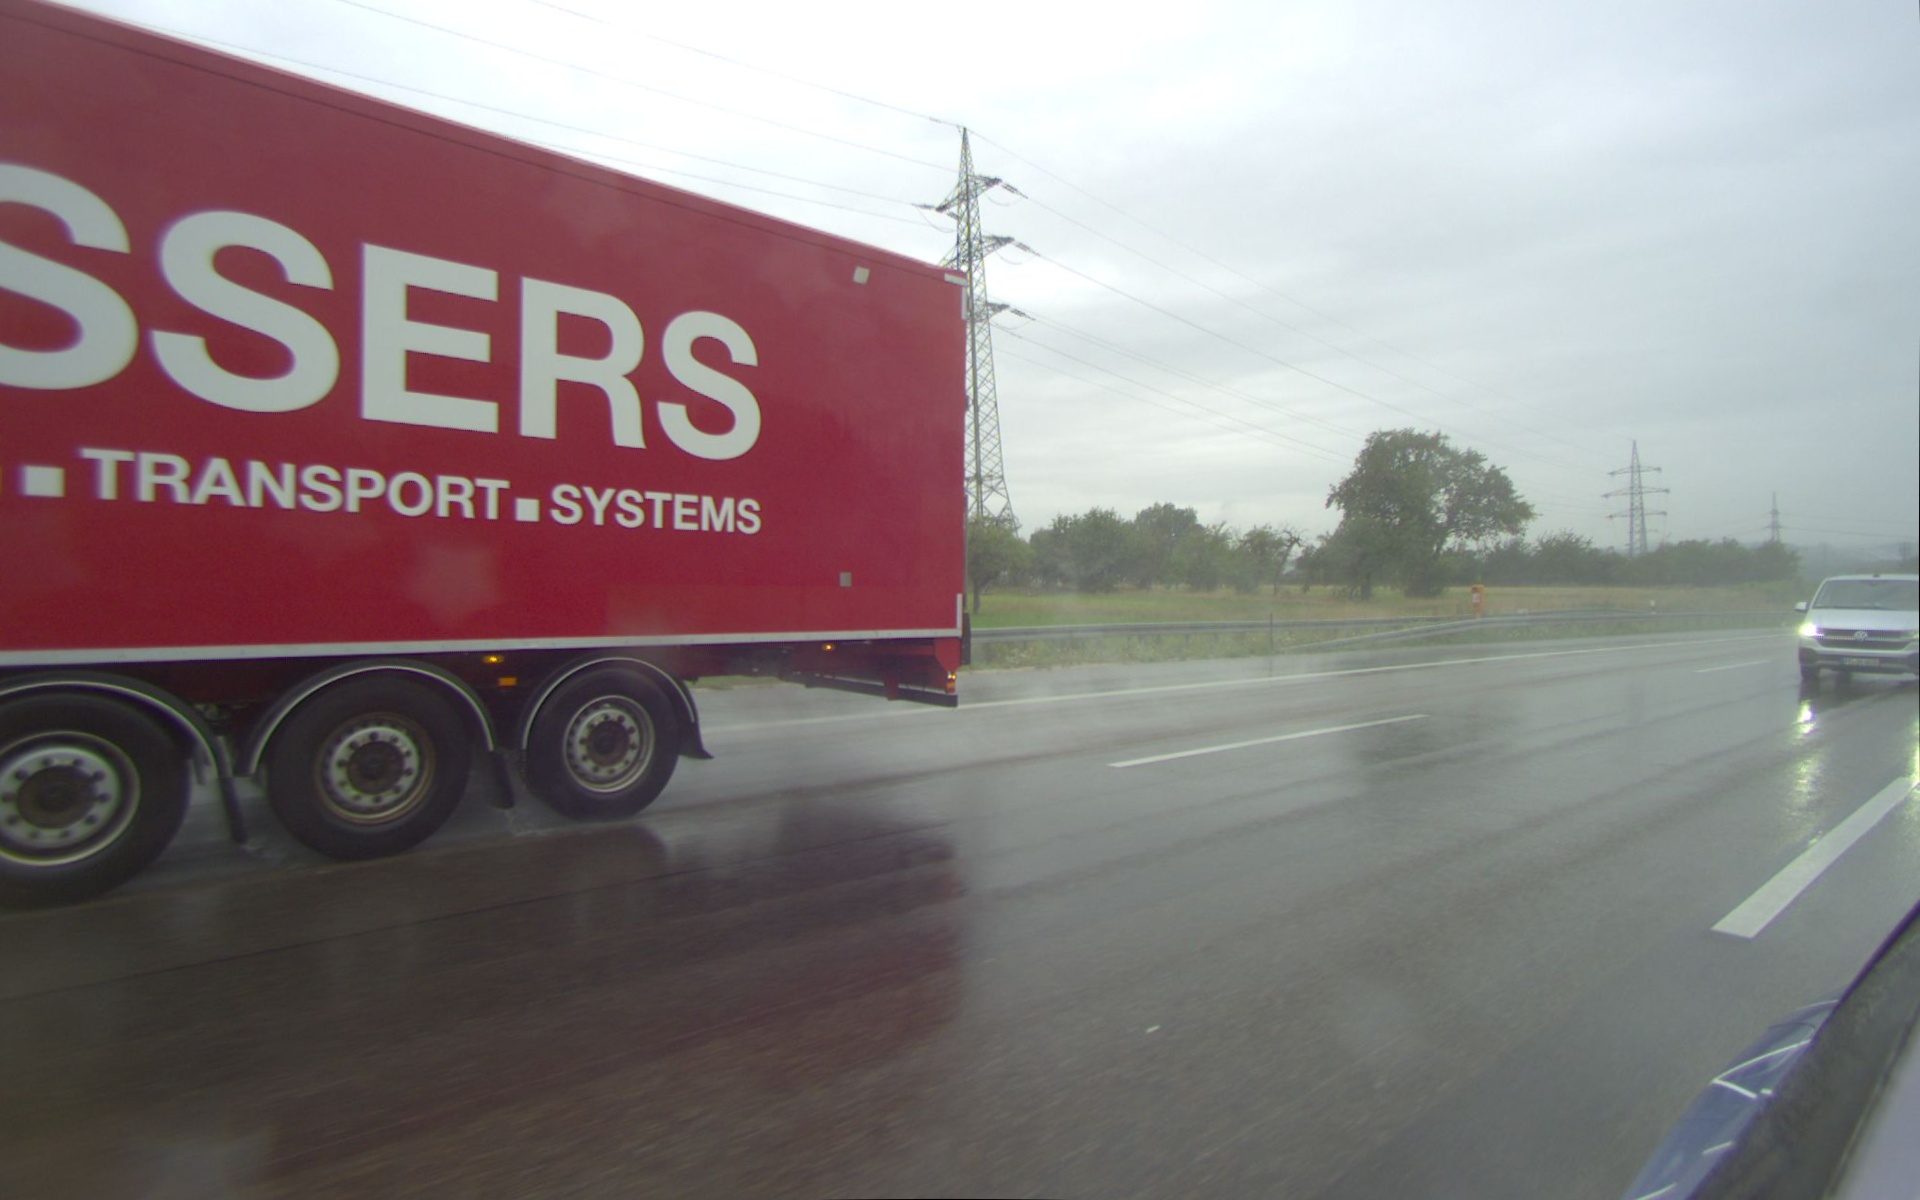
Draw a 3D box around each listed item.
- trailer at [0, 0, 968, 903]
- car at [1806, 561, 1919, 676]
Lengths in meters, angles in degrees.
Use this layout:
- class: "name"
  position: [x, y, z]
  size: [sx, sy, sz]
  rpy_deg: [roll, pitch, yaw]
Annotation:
- class: "trailer"
  position: [-5.798, -0.741, 4.416]
  size: [13.395, 4.005, 2.624]
  rpy_deg: [0, 1, -42]
- class: "car"
  position: [17.618, 0.329, 18.871]
  size: [4.919, 1.908, 1.891]
  rpy_deg: [0, -2, -39]
